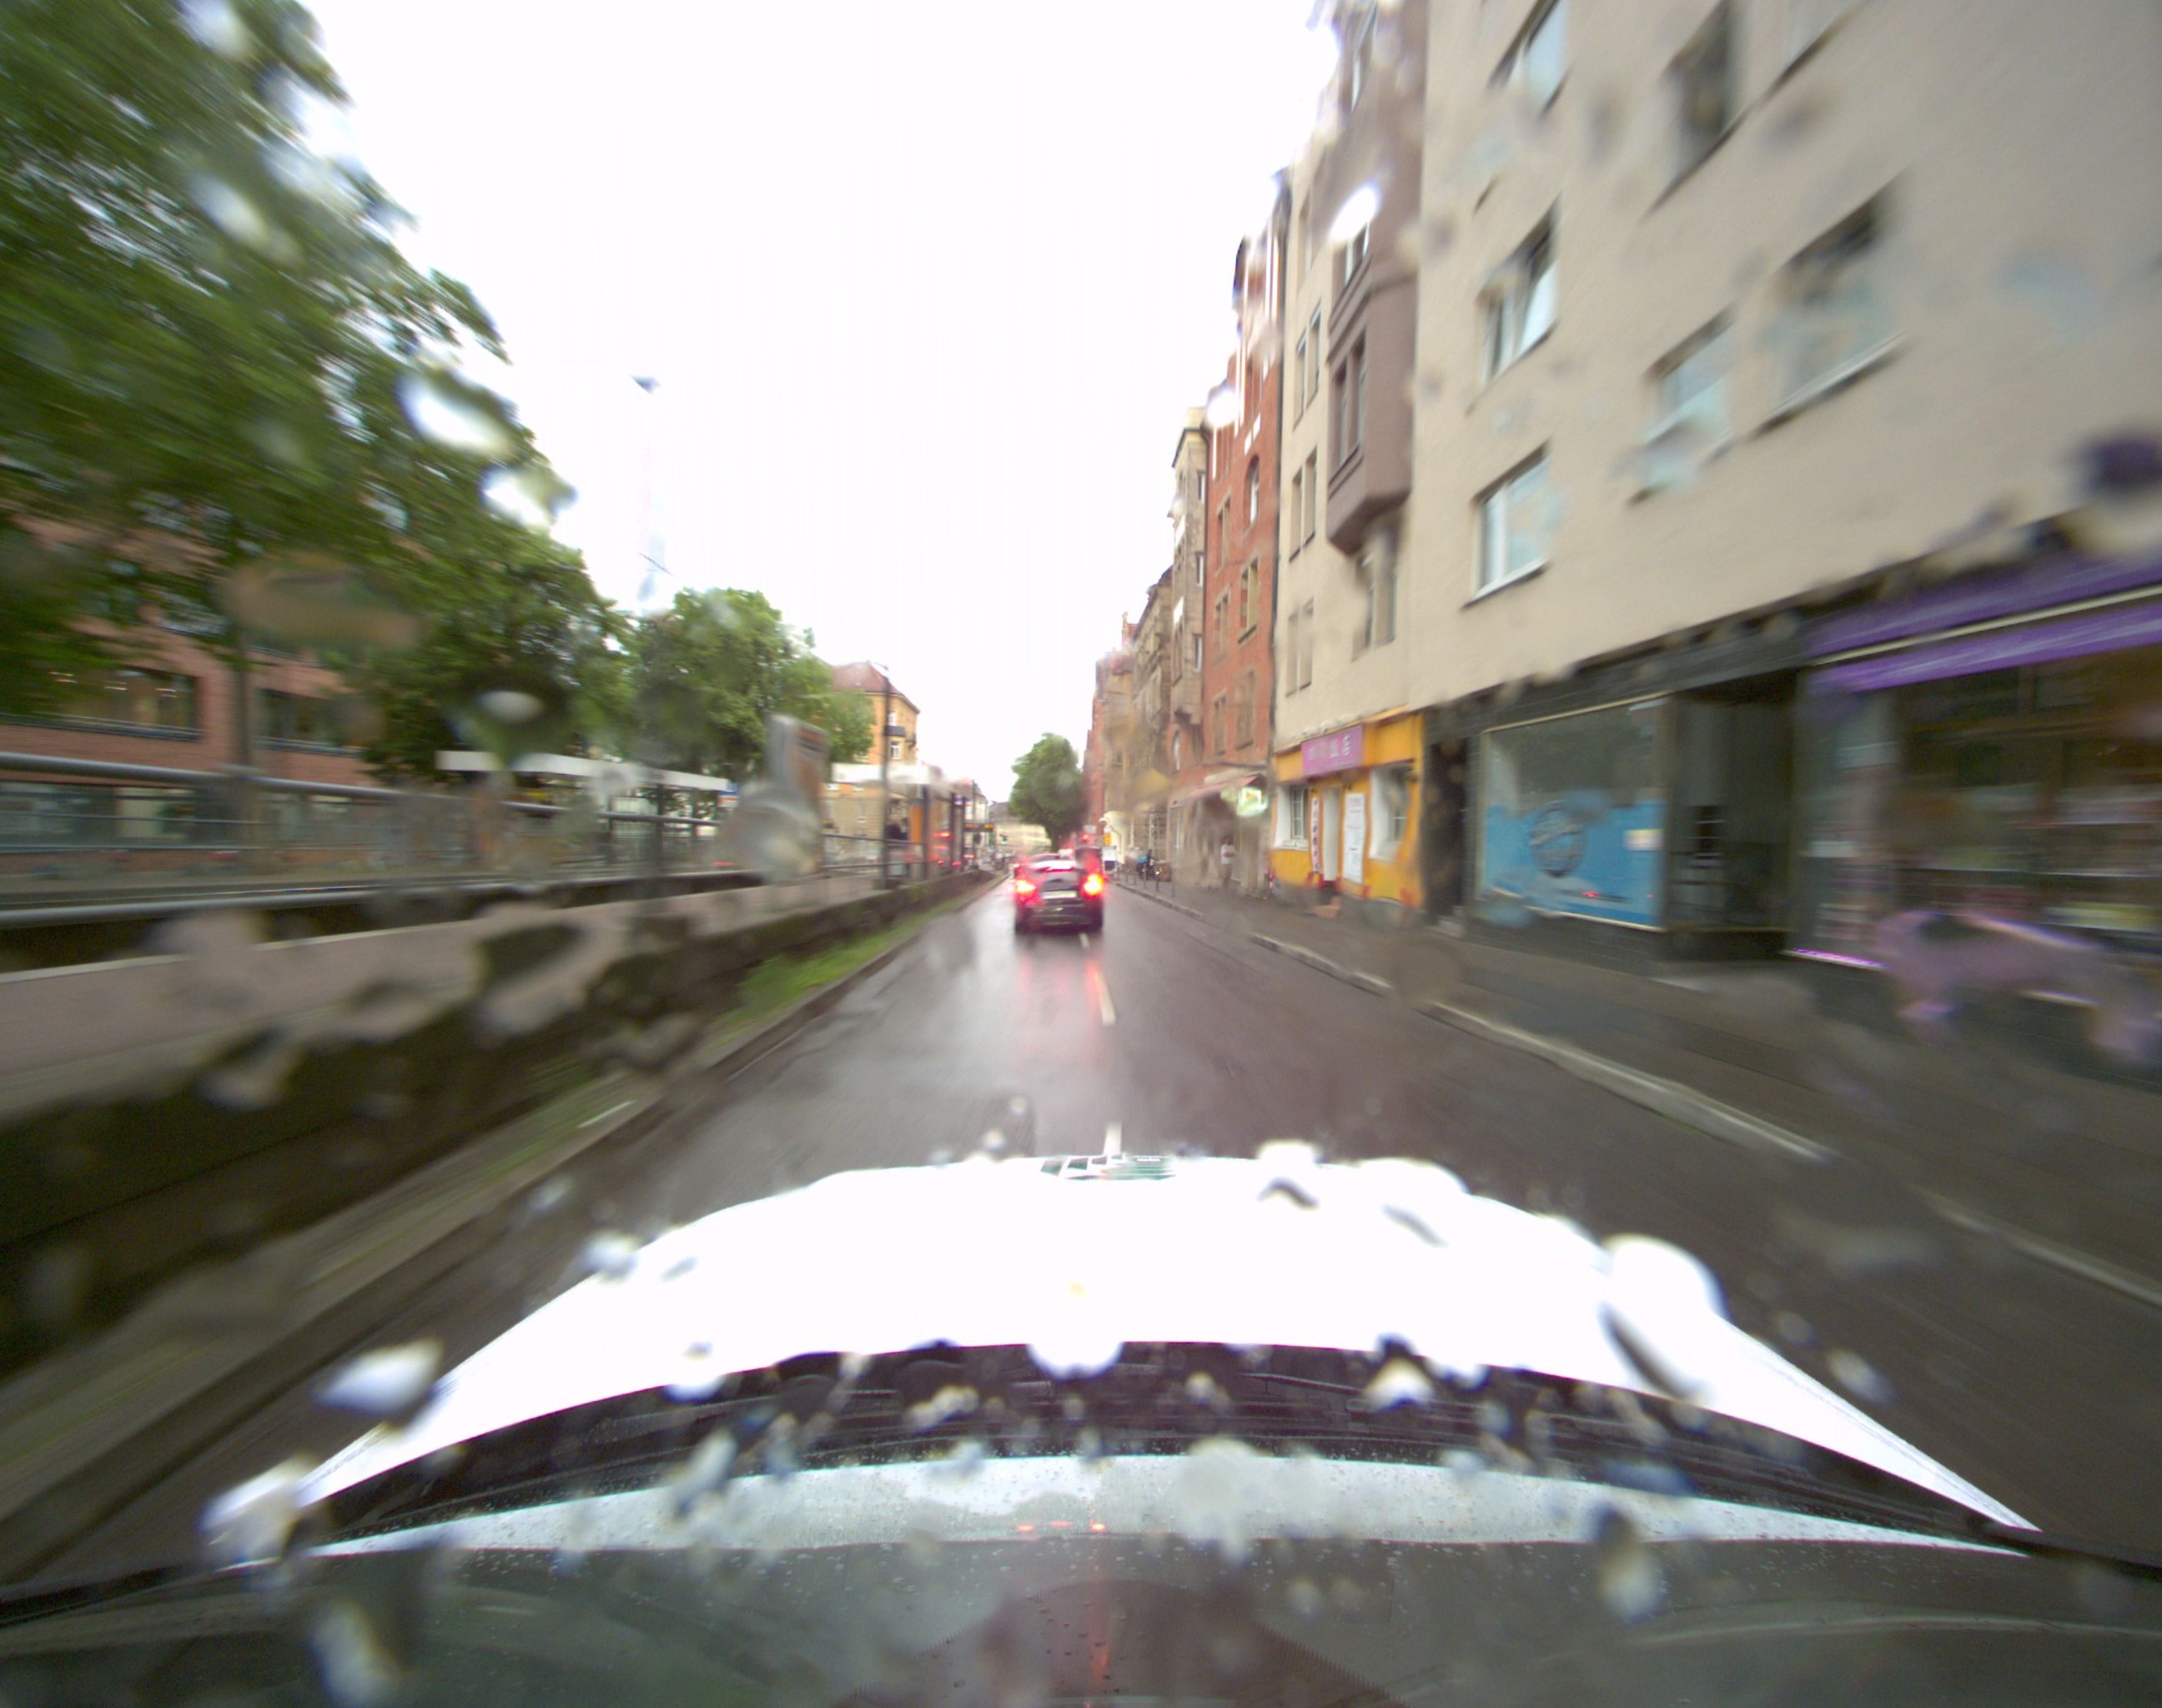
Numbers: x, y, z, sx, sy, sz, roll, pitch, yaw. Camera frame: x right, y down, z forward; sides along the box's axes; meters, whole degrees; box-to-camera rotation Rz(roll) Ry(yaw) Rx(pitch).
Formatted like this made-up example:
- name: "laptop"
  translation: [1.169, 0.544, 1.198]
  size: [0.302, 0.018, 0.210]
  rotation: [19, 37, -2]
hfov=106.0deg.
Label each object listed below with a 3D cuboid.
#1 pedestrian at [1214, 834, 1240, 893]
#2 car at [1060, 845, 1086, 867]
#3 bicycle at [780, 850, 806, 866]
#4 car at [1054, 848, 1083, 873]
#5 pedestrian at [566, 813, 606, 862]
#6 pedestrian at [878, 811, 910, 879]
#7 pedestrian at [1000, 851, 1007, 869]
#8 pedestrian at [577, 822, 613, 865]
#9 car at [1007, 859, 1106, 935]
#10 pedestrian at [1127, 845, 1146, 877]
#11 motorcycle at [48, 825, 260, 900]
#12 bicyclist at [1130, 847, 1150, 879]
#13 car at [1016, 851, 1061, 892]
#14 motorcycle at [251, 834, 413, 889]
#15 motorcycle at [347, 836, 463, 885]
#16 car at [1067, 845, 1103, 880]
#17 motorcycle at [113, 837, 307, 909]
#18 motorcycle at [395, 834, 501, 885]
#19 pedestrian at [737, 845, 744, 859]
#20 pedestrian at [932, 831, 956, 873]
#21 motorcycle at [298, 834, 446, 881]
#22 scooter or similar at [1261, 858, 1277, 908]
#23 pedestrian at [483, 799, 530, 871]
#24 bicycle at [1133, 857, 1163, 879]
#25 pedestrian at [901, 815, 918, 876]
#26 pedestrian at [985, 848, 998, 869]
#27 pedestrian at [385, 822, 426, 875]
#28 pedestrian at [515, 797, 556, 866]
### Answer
- name: "pedestrian"
  translation: [4.623, 0.302, 25.795]
  size: [0.577, 1.830, 0.562]
  rotation: [-3, -1, -6]
- name: "car"
  translation: [-0.560, 0.098, 56.994]
  size: [1.708, 1.469, 4.279]
  rotation: [1, 0, -1]
- name: "bicycle"
  translation: [-22.799, 0.328, 64.480]
  size: [1.873, 1.195, 0.515]
  rotation: [1, 0, -14]
- name: "car"
  translation: [-1.049, 0.479, 64.287]
  size: [1.930, 1.831, 4.273]
  rotation: [1, 1, -6]
- name: "pedestrian"
  translation: [-14.160, -0.472, 23.326]
  size: [0.776, 1.362, 0.563]
  rotation: [2, 1, -5]
- name: "pedestrian"
  translation: [-4.515, -0.218, 19.665]
  size: [0.492, 1.605, 0.639]
  rotation: [0, 0, 13]
- name: "pedestrian"
  translation: [-6.478, 0.504, 68.266]
  size: [0.531, 1.530, 0.435]
  rotation: [1, 0, -11]
- name: "pedestrian"
  translation: [-14.282, -0.318, 23.950]
  size: [0.702, 1.240, 0.563]
  rotation: [2, 1, -5]
- name: "car"
  translation: [-0.531, 0.828, 17.573]
  size: [1.890, 1.390, 3.997]
  rotation: [1, 0, -2]
- name: "pedestrian"
  translation: [3.070, 0.367, 44.822]
  size: [0.678, 1.754, 0.841]
  rotation: [0, 0, 39]
- name: "motorcycle"
  translation: [-23.298, 0.213, 20.549]
  size: [3.857, 1.774, 1.004]
  rotation: [1, 0, -5]
- name: "bicyclist"
  translation: [3.093, 0.445, 42.829]
  size: [0.854, 1.657, 0.624]
  rotation: [0, 0, -41]
- name: "car"
  translation: [-1.725, 0.650, 32.053]
  size: [1.677, 1.489, 3.607]
  rotation: [0, 0, -5]
- name: "motorcycle"
  translation: [-23.264, 0.240, 25.366]
  size: [3.857, 1.605, 1.004]
  rotation: [1, 0, -5]
- name: "motorcycle"
  translation: [-23.632, 0.226, 28.515]
  size: [3.053, 1.627, 1.004]
  rotation: [1, 0, -5]
- name: "car"
  translation: [0.208, 0.454, 47.628]
  size: [1.916, 1.936, 4.682]
  rotation: [1, 0, -2]
- name: "motorcycle"
  translation: [-23.431, 0.507, 21.986]
  size: [3.857, 1.816, 1.004]
  rotation: [1, 0, -5]
- name: "motorcycle"
  translation: [-23.488, 0.195, 30.269]
  size: [3.031, 1.816, 0.992]
  rotation: [1, 0, -5]
- name: "pedestrian"
  translation: [-38.161, -0.213, 91.246]
  size: [0.520, 1.622, 0.480]
  rotation: [1, 0, -43]
- name: "pedestrian"
  translation: [-4.076, -0.049, 24.286]
  size: [0.611, 1.227, 0.507]
  rotation: [1, 0, 0]
- name: "motorcycle"
  translation: [-23.739, 0.114, 27.339]
  size: [3.857, 1.487, 1.004]
  rotation: [1, 0, -5]
- name: "scooter or similar"
  translation: [4.798, 0.725, 20.793]
  size: [0.256, 1.222, 1.197]
  rotation: [1, 0, 7]
- name: "pedestrian"
  translation: [-13.392, -0.440, 18.996]
  size: [0.685, 1.641, 0.563]
  rotation: [2, 1, -5]
- name: "bicycle"
  translation: [3.496, 0.715, 42.539]
  size: [1.698, 1.115, 0.459]
  rotation: [0, 0, -40]
- name: "pedestrian"
  translation: [-4.560, -0.219, 21.684]
  size: [0.409, 1.605, 0.449]
  rotation: [1, 0, -9]
- name: "pedestrian"
  translation: [-7.519, 0.350, 68.216]
  size: [0.732, 1.724, 0.745]
  rotation: [1, 0, 44]
- name: "pedestrian"
  translation: [-26.584, -0.214, 32.075]
  size: [0.730, 2.013, 0.981]
  rotation: [1, 0, 1]
- name: "pedestrian"
  translation: [-13.744, -0.562, 20.532]
  size: [0.561, 1.715, 0.705]
  rotation: [2, 1, -5]
